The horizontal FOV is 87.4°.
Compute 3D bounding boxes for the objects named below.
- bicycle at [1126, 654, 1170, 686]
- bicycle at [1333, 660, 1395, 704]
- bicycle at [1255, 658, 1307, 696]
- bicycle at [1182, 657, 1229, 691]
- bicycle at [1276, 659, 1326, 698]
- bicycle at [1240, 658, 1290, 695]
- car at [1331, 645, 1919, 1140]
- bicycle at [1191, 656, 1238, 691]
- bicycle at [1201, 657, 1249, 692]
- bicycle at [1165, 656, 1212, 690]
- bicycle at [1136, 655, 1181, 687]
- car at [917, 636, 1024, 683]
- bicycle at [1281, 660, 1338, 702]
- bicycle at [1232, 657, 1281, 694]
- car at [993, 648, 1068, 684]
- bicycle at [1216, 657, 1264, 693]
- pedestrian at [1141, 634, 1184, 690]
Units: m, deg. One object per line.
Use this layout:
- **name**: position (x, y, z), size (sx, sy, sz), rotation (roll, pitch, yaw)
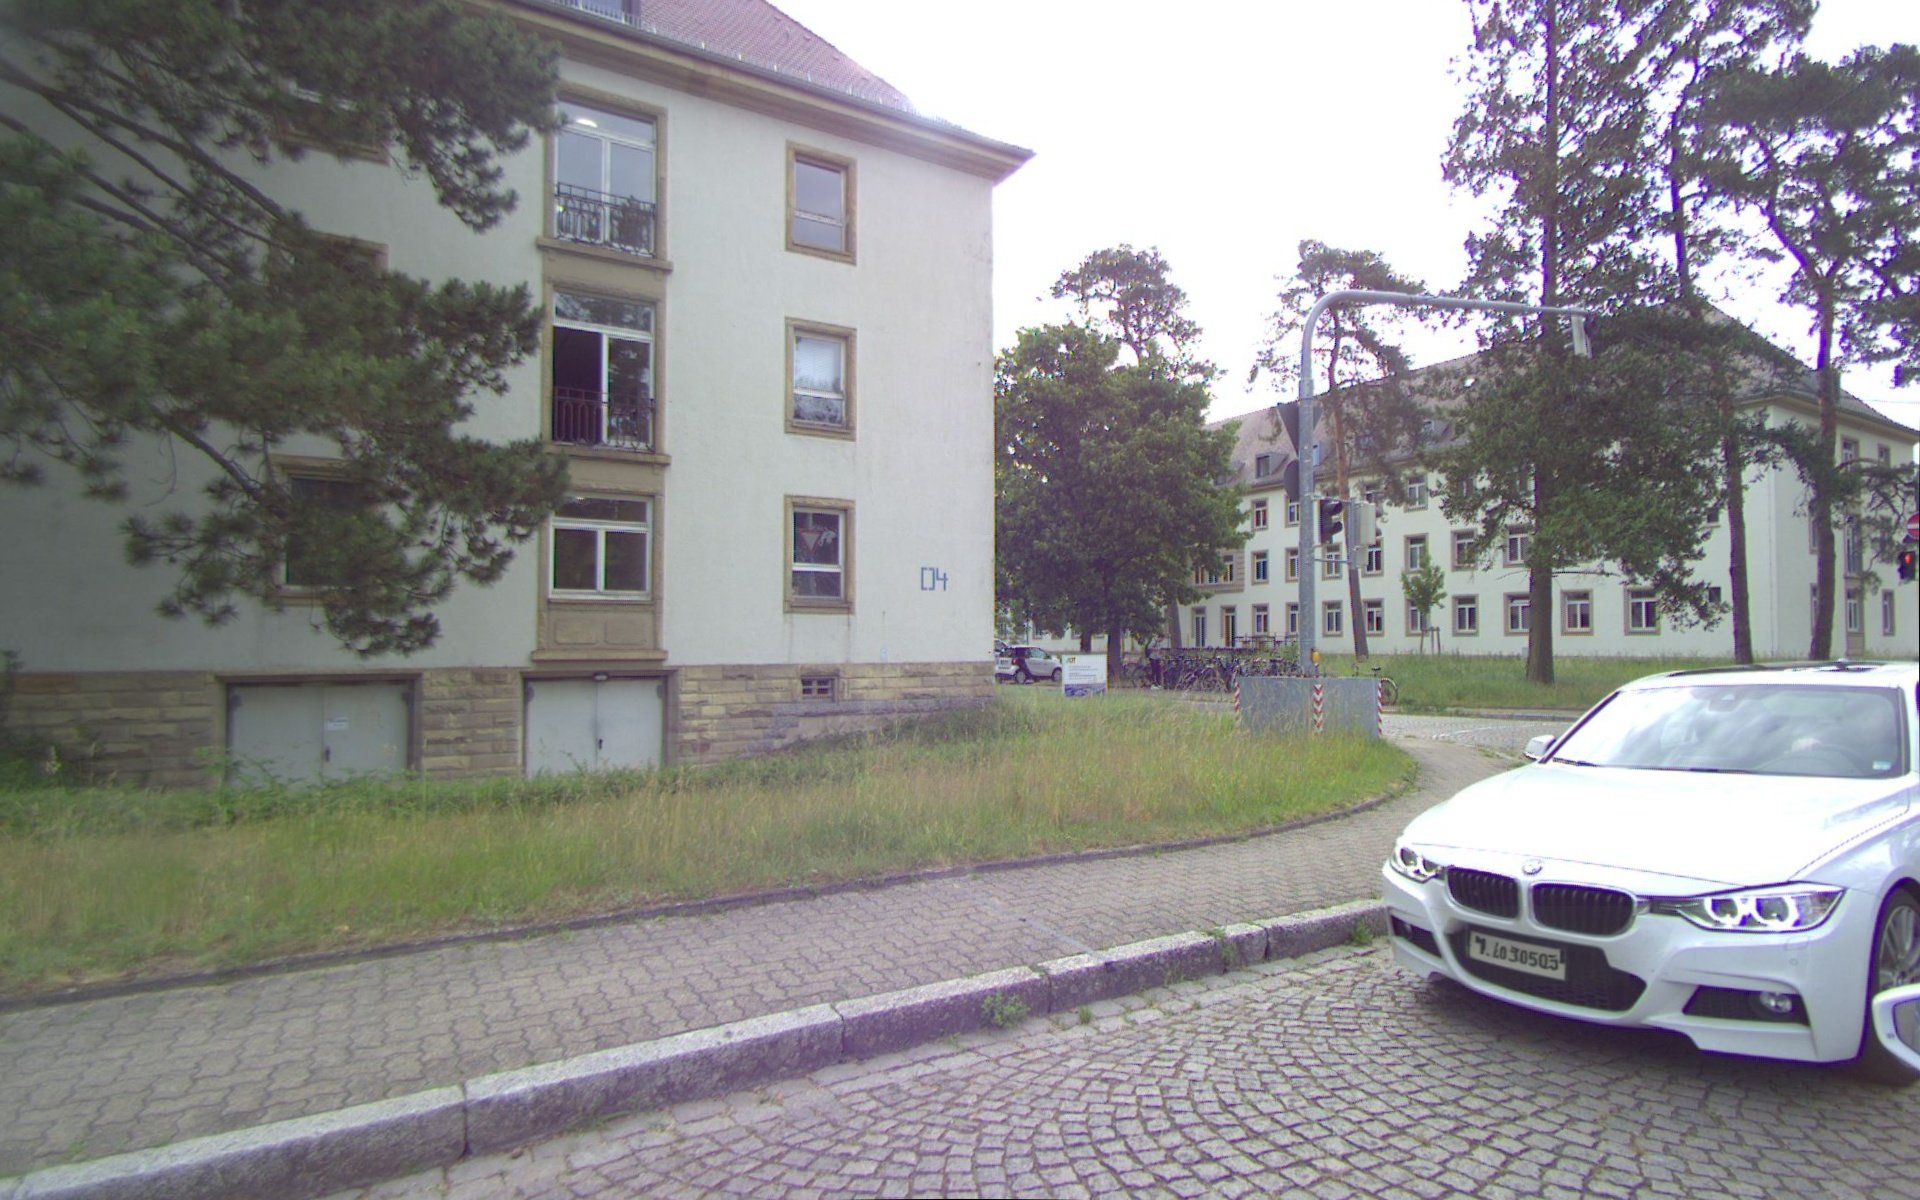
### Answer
- **bicycle**: position (6.563, 2.436, 34.976), size (1.567, 1.093, 0.512), rotation (2, -3, -31)
- **bicycle**: position (10.445, 2.108, 25.991), size (0.510, 1.079, 1.457), rotation (2, -3, -32)
- **bicycle**: position (9.527, 2.285, 29.793), size (1.565, 1.093, 0.512), rotation (2, -3, -28)
- **bicycle**: position (7.959, 2.383, 32.524), size (1.567, 1.093, 0.512), rotation (2, -3, -31)
- **bicycle**: position (9.940, 2.281, 29.254), size (1.569, 1.093, 0.511), rotation (2, -3, -34)
- **bicycle**: position (9.252, 2.295, 30.449), size (1.567, 1.093, 0.512), rotation (2, -3, -31)
- **car**: position (3.930, 0.989, 4.877), size (4.171, 1.456, 1.765), rotation (1, -5, -32)
- **bicycle**: position (8.158, 2.350, 32.196), size (1.567, 1.093, 0.512), rotation (2, -3, -31)
- **bicycle**: position (8.390, 2.342, 31.810), size (1.567, 1.093, 0.512), rotation (2, -3, -31)
- **bicycle**: position (7.560, 2.408, 33.211), size (1.567, 1.093, 0.512), rotation (2, -3, -31)
- **bicycle**: position (6.822, 2.431, 34.549), size (1.567, 1.093, 0.512), rotation (2, -3, -31)
- **car**: position (0.540, 2.594, 44.505), size (4.878, 1.977, 1.839), rotation (3, -3, -44)
- **bicycle**: position (9.485, 2.195, 27.316), size (0.510, 1.093, 1.457), rotation (2, -3, -32)
- **bicycle**: position (9.075, 2.298, 30.764), size (1.567, 1.093, 0.512), rotation (2, -3, -31)
- **car**: position (2.954, 2.735, 41.963), size (2.756, 1.446, 1.509), rotation (2, -2, -31)
- **bicycle**: position (8.720, 2.314, 31.284), size (1.567, 1.093, 0.512), rotation (2, -3, -31)
- **pedestrian**: position (6.710, 2.056, 33.402), size (1.135, 1.812, 1.064), rotation (-1, -2, -2)
